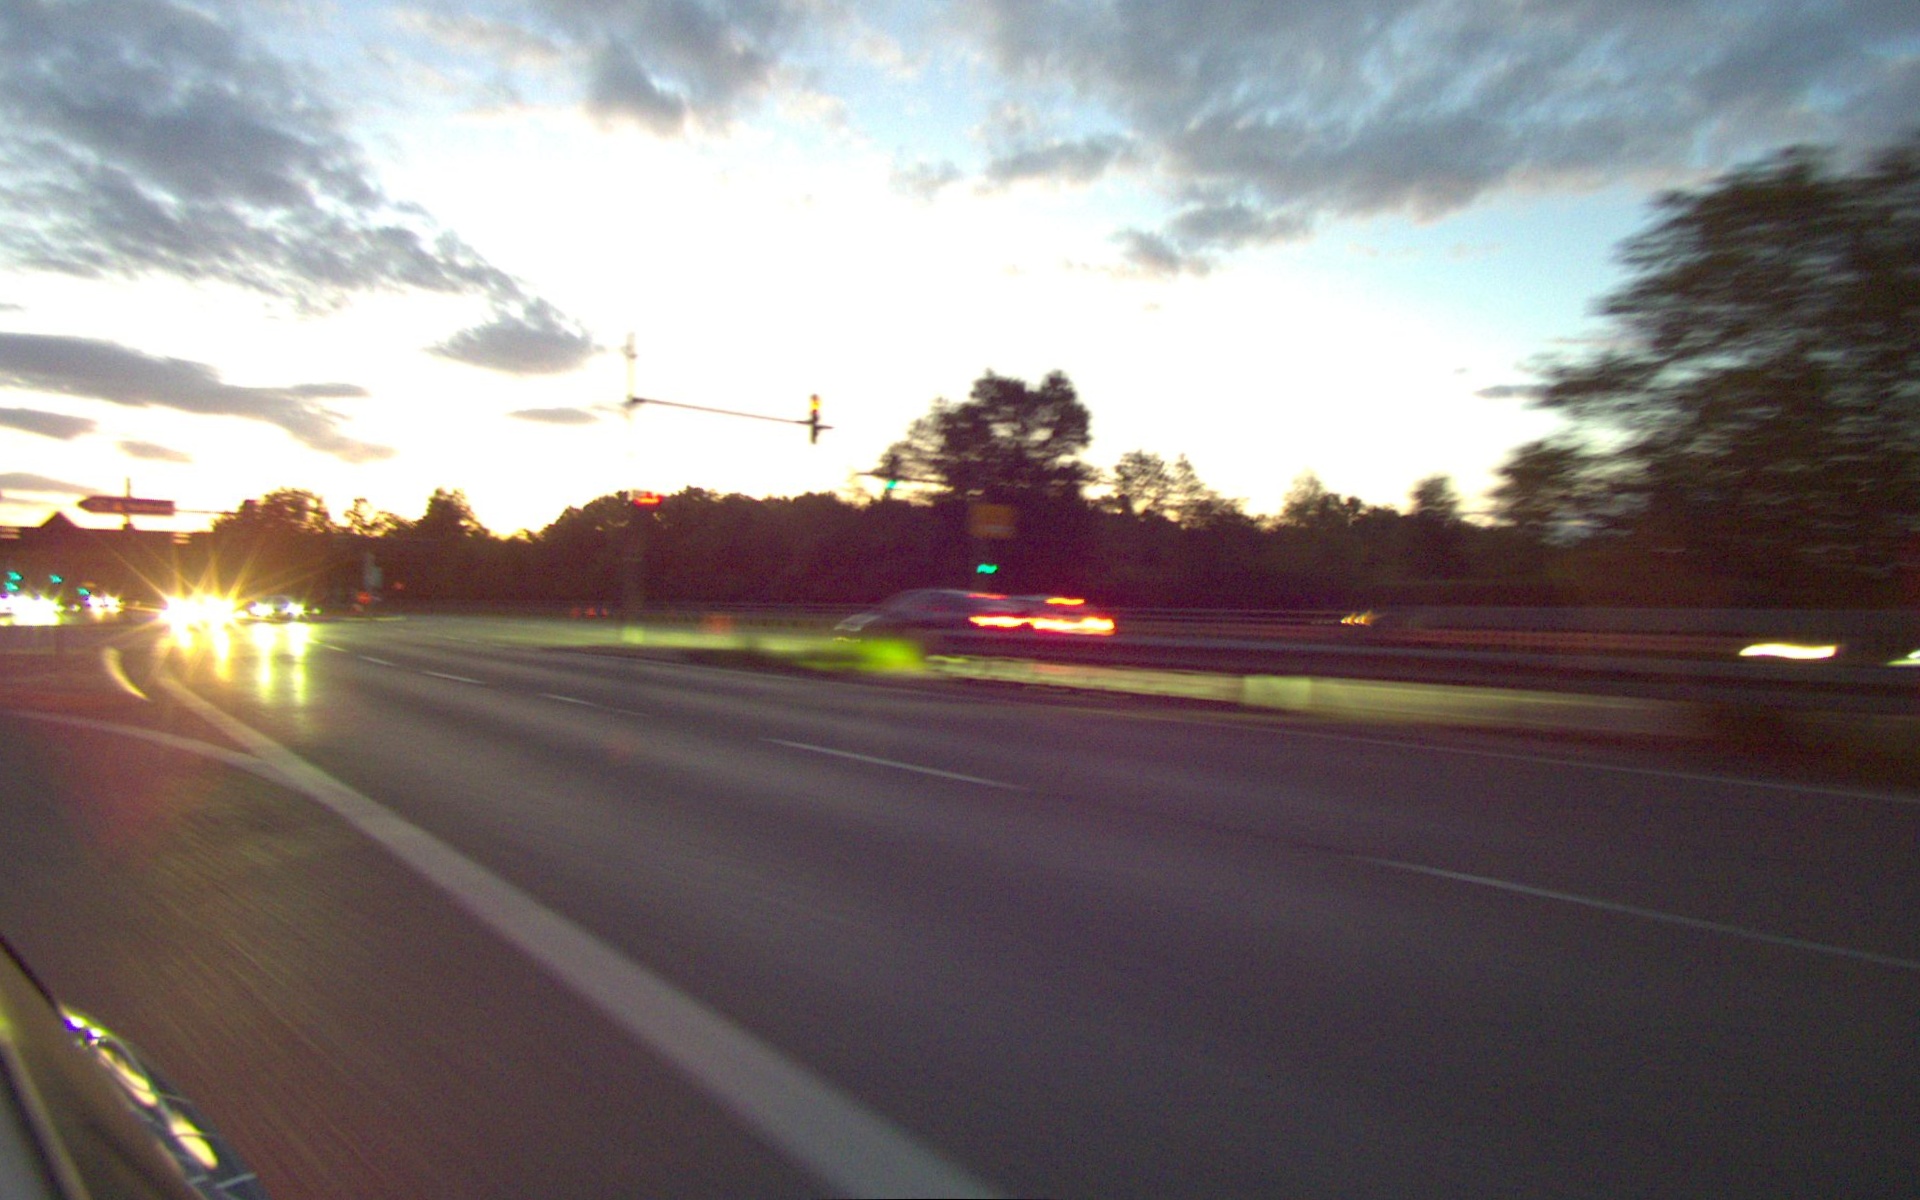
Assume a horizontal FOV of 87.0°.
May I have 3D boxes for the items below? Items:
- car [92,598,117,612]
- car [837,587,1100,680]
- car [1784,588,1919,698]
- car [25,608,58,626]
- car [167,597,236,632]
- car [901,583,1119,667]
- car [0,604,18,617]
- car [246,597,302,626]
[{"bbox_3d":[-100.492,0.570,118.917,2.026,1.608,4.009,0,0,-36],"label":"car"},{"bbox_3d":[0.003,0.561,18.615,1.969,1.464,5.054,2,-1,-42],"label":"car"},{"bbox_3d":[14.223,0.587,13.532,1.969,1.464,4.740,1,-1,-42],"label":"car"},{"bbox_3d":[-89.361,1.653,98.474,1.976,1.741,4.009,0,0,-37],"label":"car"},{"bbox_3d":[-34.043,0.663,45.374,1.970,1.464,4.003,3,-2,-44],"label":"car"},{"bbox_3d":[1.011,0.482,22.816,1.970,1.694,4.877,1,0,-44],"label":"car"},{"bbox_3d":[-114.537,1.240,121.310,3.997,1.608,1.973,0,0,40],"label":"car"},{"bbox_3d":[-36.777,0.580,54.226,1.969,1.464,4.741,0,0,-41],"label":"car"}]
